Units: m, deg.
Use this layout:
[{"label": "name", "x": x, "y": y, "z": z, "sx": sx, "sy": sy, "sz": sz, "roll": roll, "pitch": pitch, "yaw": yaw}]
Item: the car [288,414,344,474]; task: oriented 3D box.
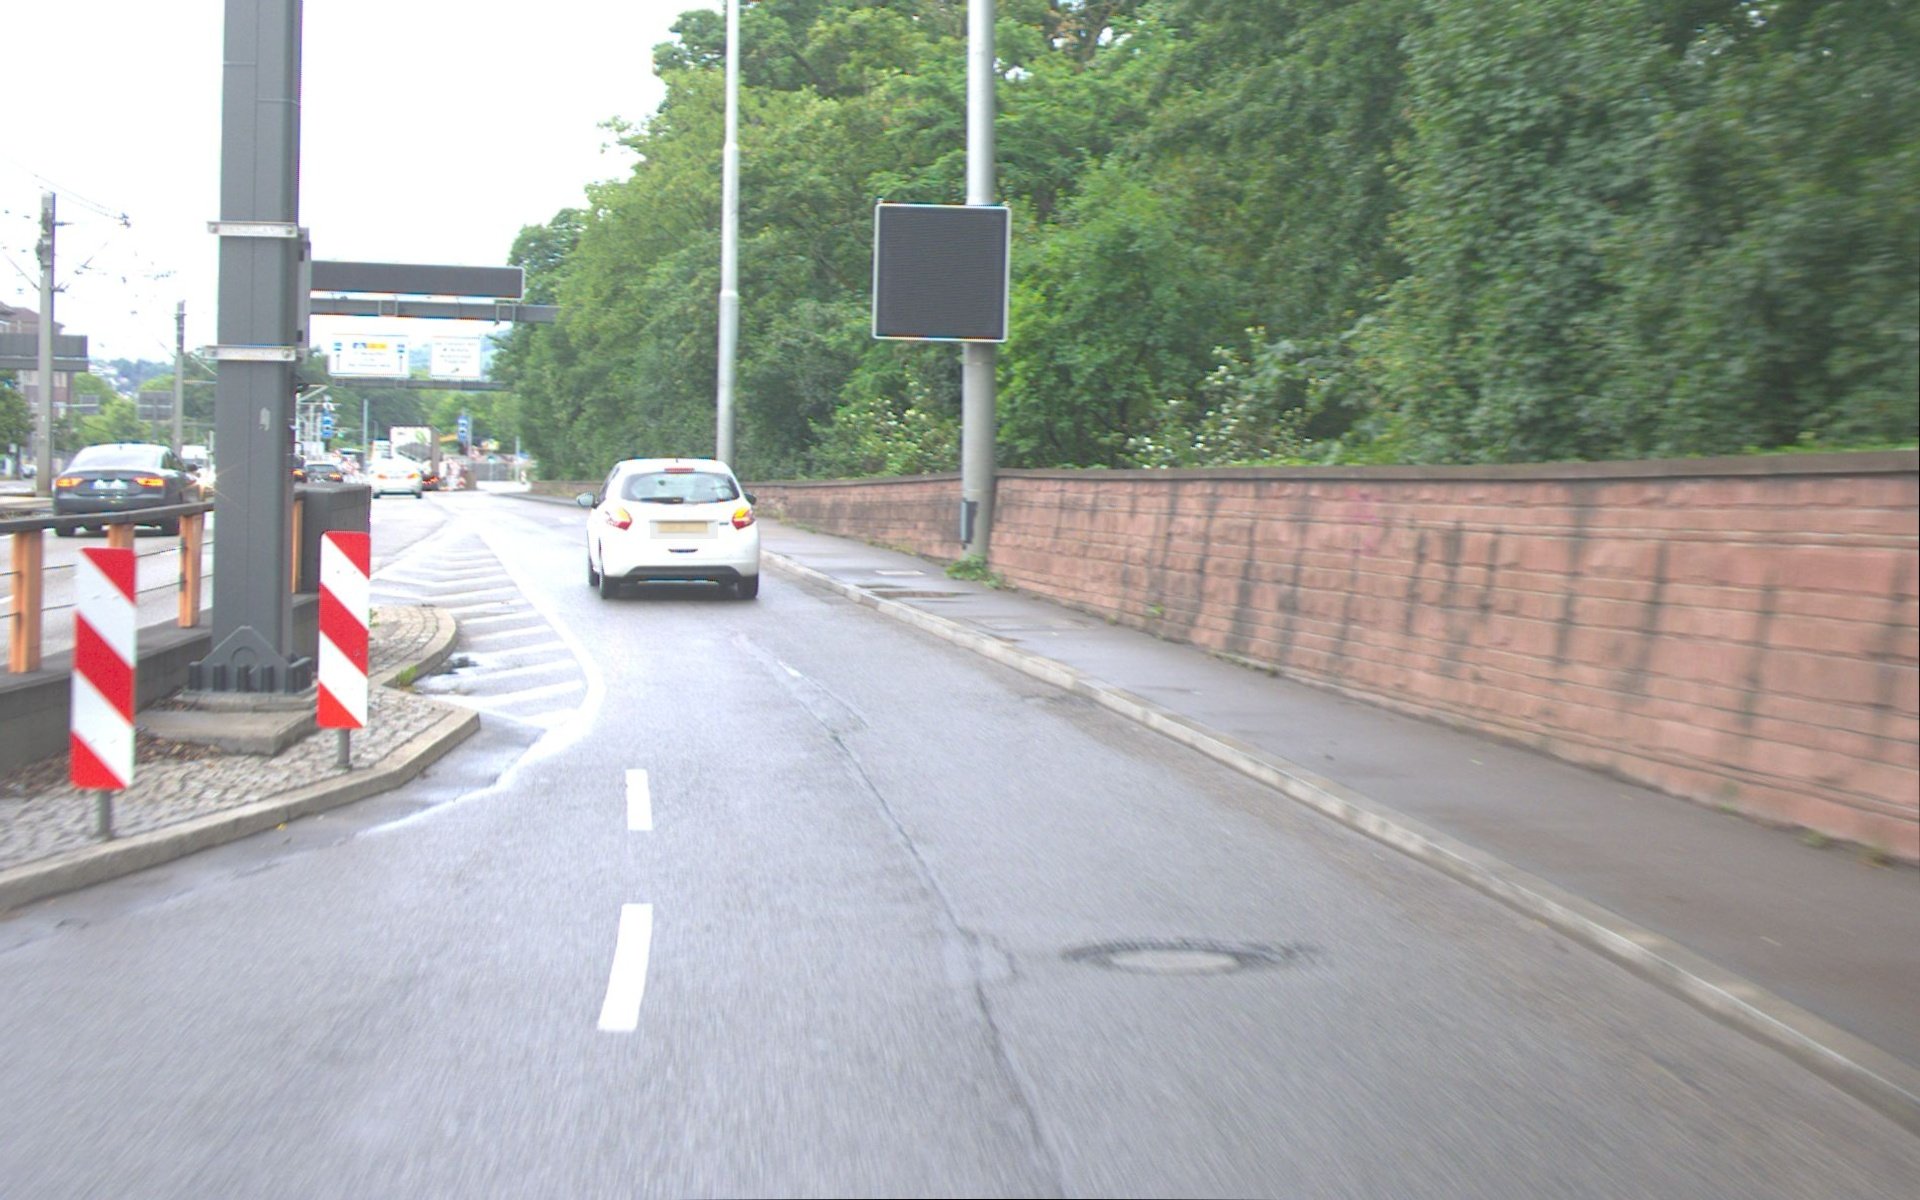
[{"label": "car", "x": -25.001, "y": -6.056, "z": 133.463, "sx": 1.993, "sy": 2.007, "sz": 4.001, "roll": 2, "pitch": -1, "yaw": -9}]

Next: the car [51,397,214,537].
[{"label": "car", "x": -12.395, "y": -2.031, "z": 51.673, "sx": 1.721, "sy": 1.884, "sz": 3.536, "roll": 1, "pitch": 5, "yaw": -2}]

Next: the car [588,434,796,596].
[{"label": "car", "x": -3.001, "y": -0.975, "z": 37.707, "sx": 1.955, "sy": 1.482, "sz": 4.002, "roll": 2, "pitch": 5, "yaw": -8}]

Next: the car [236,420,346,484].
[{"label": "car", "x": -16.742, "y": -3.711, "z": 86.254, "sx": 1.993, "sy": 1.570, "sz": 4.001, "roll": 0, "pitch": 2, "yaw": 0}]

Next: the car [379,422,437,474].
[{"label": "car", "x": -21.106, "y": -5.800, "z": 131.491, "sx": 2.081, "sy": 1.866, "sz": 4.097, "roll": 0, "pitch": 1, "yaw": -8}]

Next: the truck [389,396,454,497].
[{"label": "truck", "x": -33.142, "y": -9.389, "z": 212.032, "sx": 3.464, "sy": 5.383, "sz": 12.053, "roll": 2, "pitch": -1, "yaw": -7}]
